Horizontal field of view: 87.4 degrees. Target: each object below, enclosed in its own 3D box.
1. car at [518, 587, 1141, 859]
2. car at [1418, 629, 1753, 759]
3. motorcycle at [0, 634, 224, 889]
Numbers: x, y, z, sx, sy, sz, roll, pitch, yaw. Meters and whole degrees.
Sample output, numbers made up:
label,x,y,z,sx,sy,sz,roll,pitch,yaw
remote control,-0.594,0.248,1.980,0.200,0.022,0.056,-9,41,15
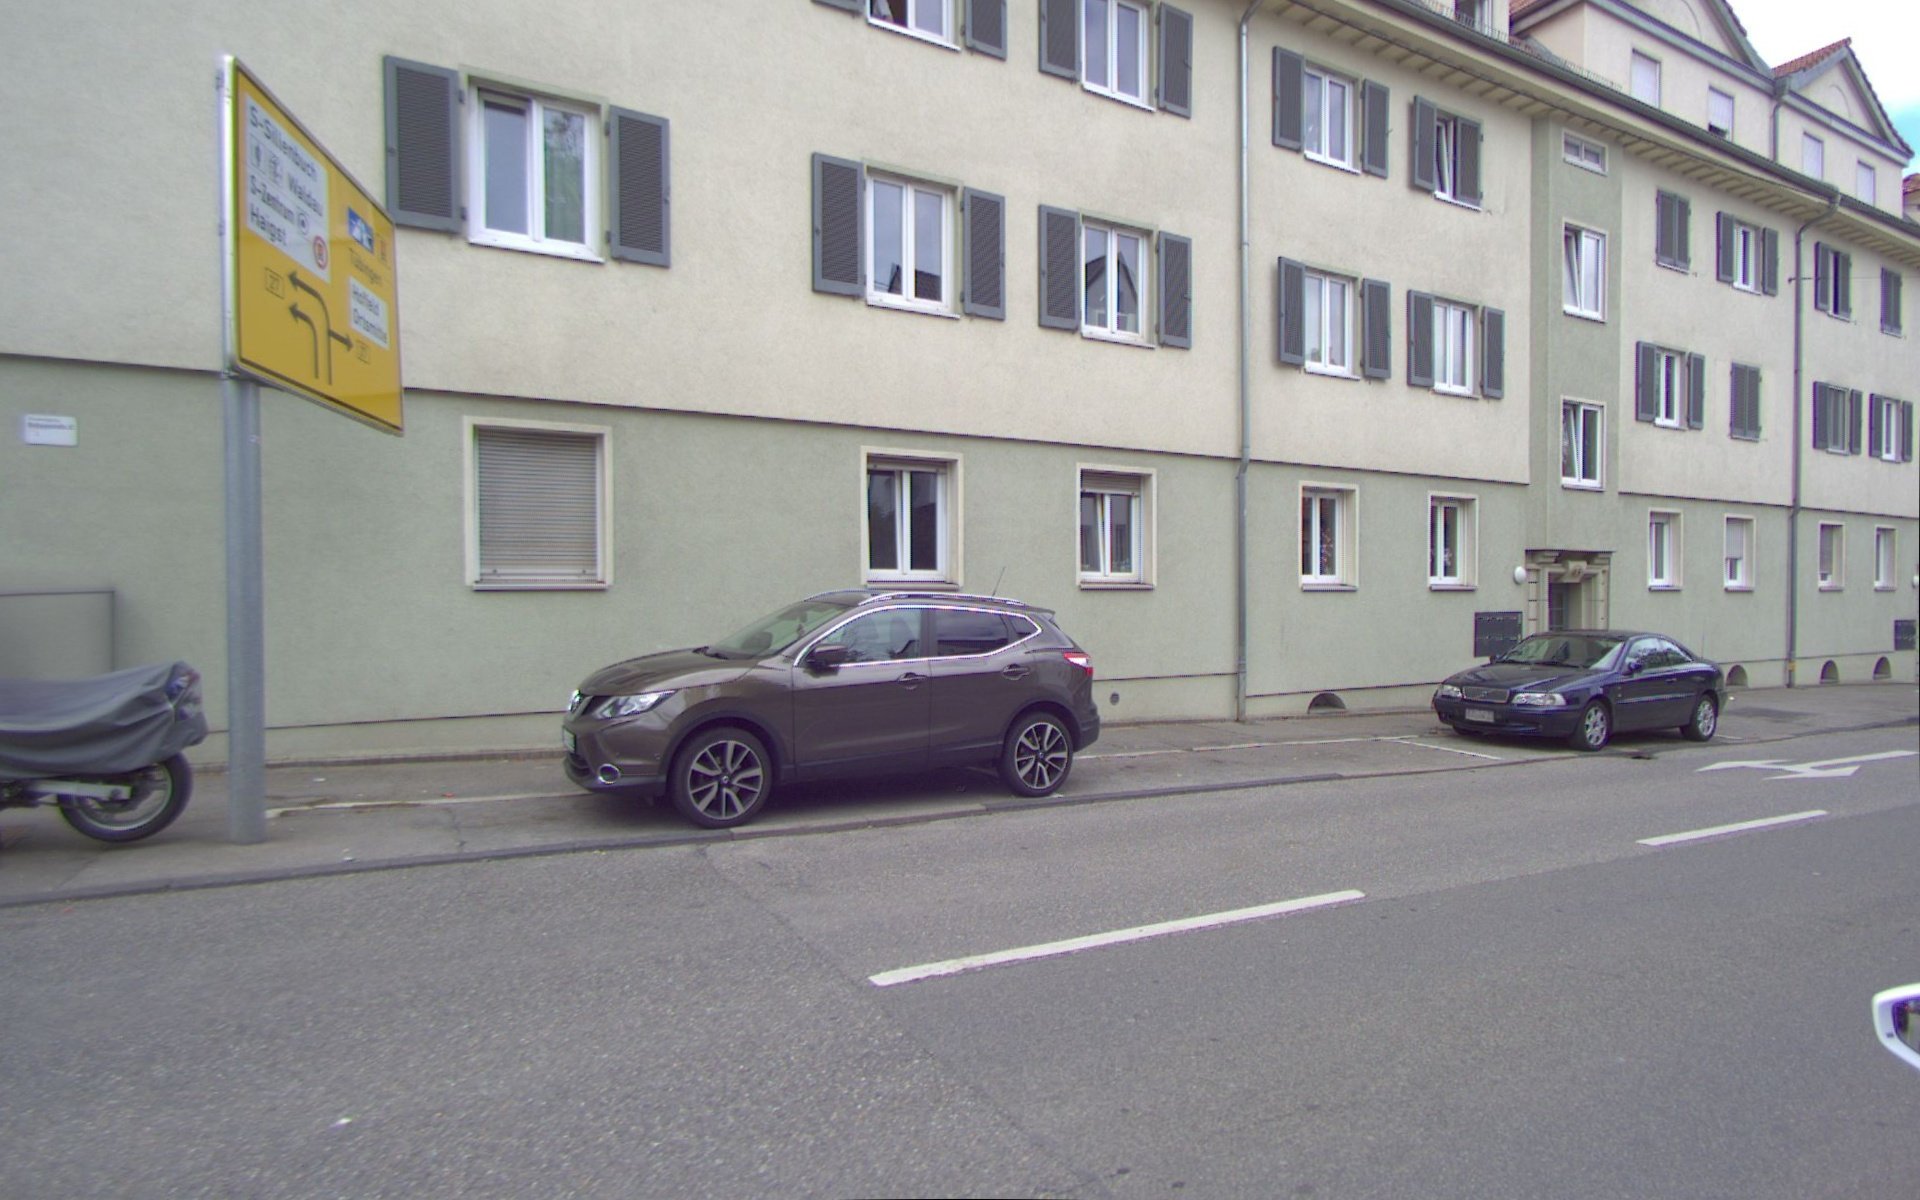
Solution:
label,x,y,z,sx,sy,sz,roll,pitch,yaw
car,-0.922,0.777,8.086,4.642,1.655,1.812,1,0,-31
car,8.289,1.117,13.185,4.788,1.422,1.702,1,-1,-30
motorcycle,-5.375,0.852,5.409,2.204,1.308,0.622,1,1,-31
